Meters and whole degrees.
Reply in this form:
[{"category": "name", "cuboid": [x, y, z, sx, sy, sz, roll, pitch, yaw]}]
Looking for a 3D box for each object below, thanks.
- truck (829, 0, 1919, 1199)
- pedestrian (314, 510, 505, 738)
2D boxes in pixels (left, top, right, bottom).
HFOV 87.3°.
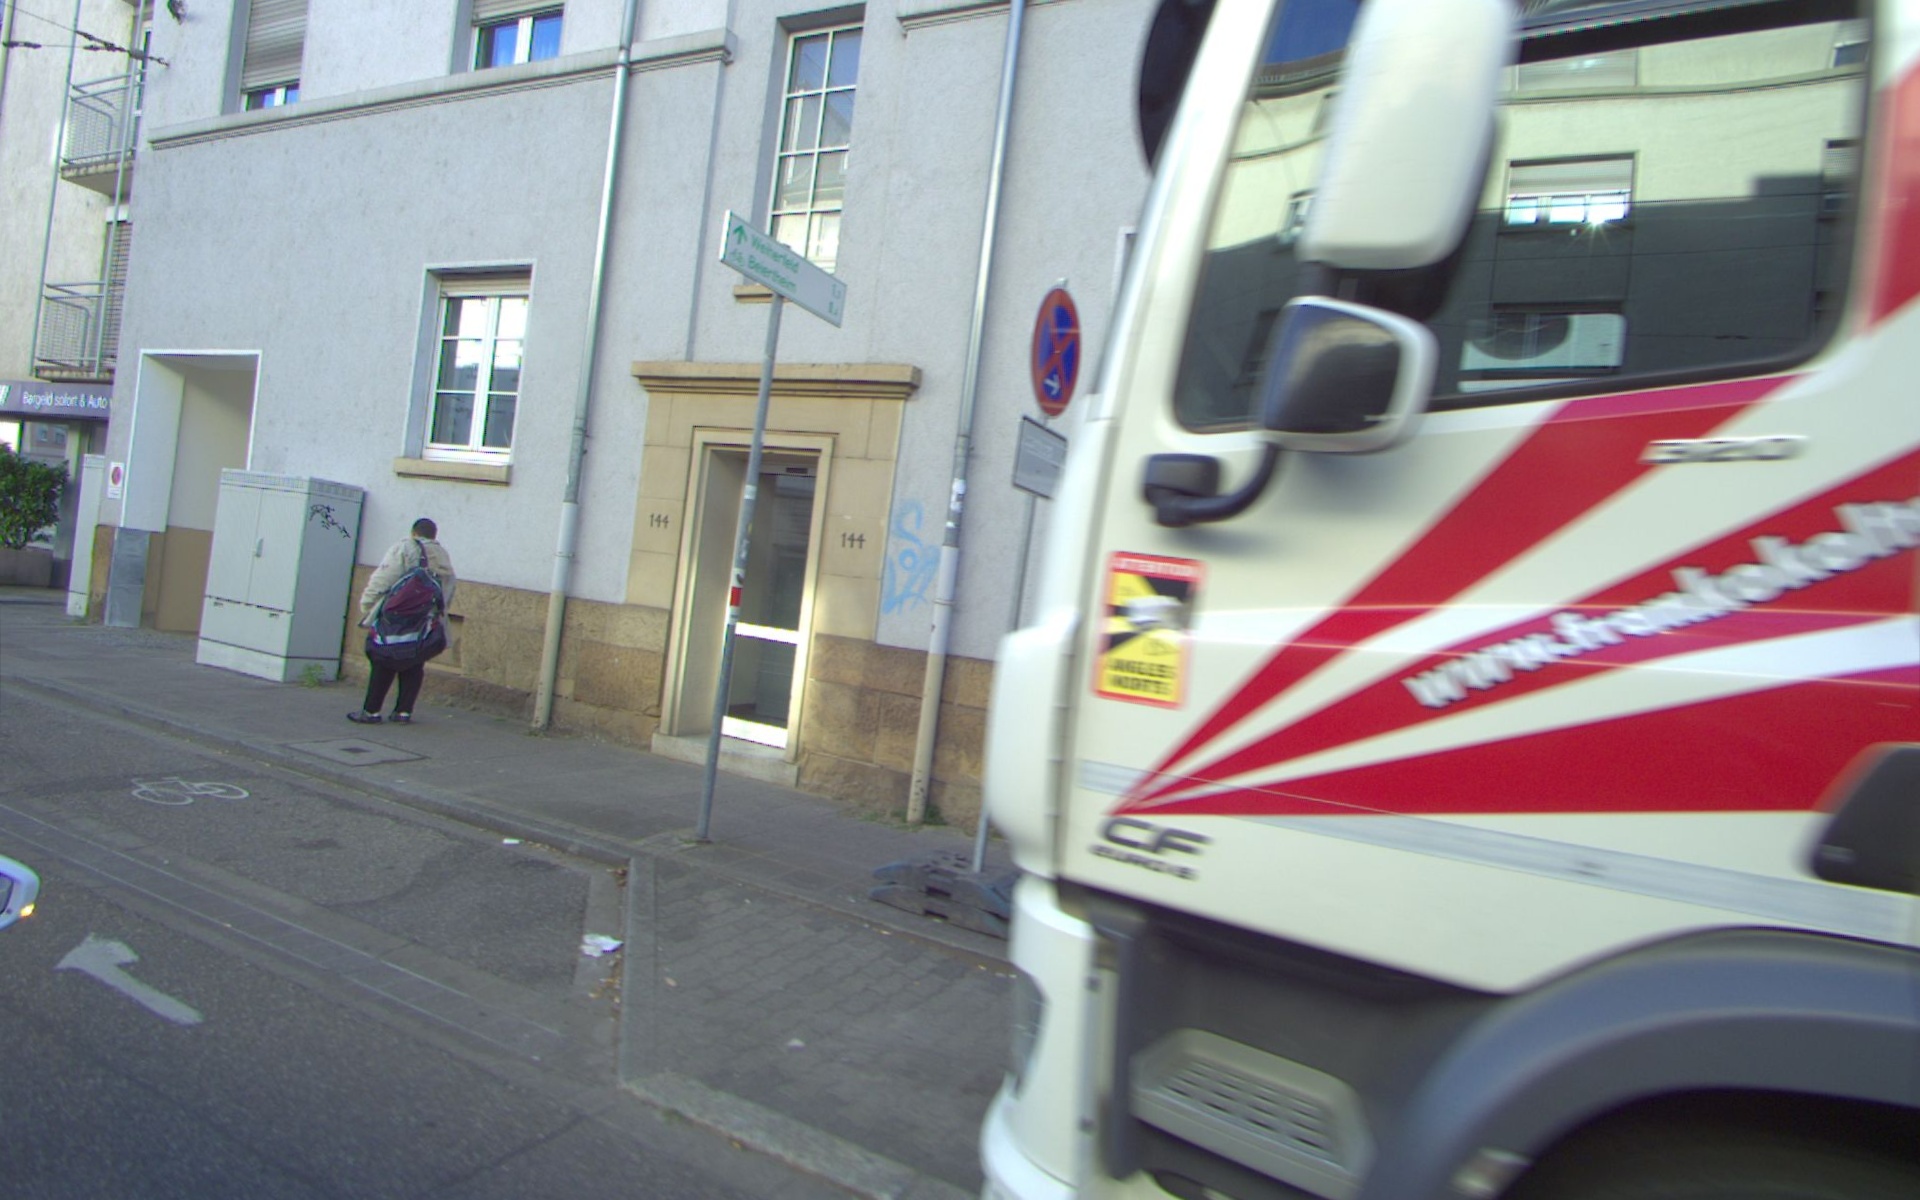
[{"category": "truck", "cuboid": [5.708, 0.176, 0.334, 11.571, 4.124, 2.866, 7, 0, 27]}, {"category": "pedestrian", "cuboid": [-4.157, 0.172, 7.623, 0.854, 1.554, 0.826, 7, 2, 27]}]
